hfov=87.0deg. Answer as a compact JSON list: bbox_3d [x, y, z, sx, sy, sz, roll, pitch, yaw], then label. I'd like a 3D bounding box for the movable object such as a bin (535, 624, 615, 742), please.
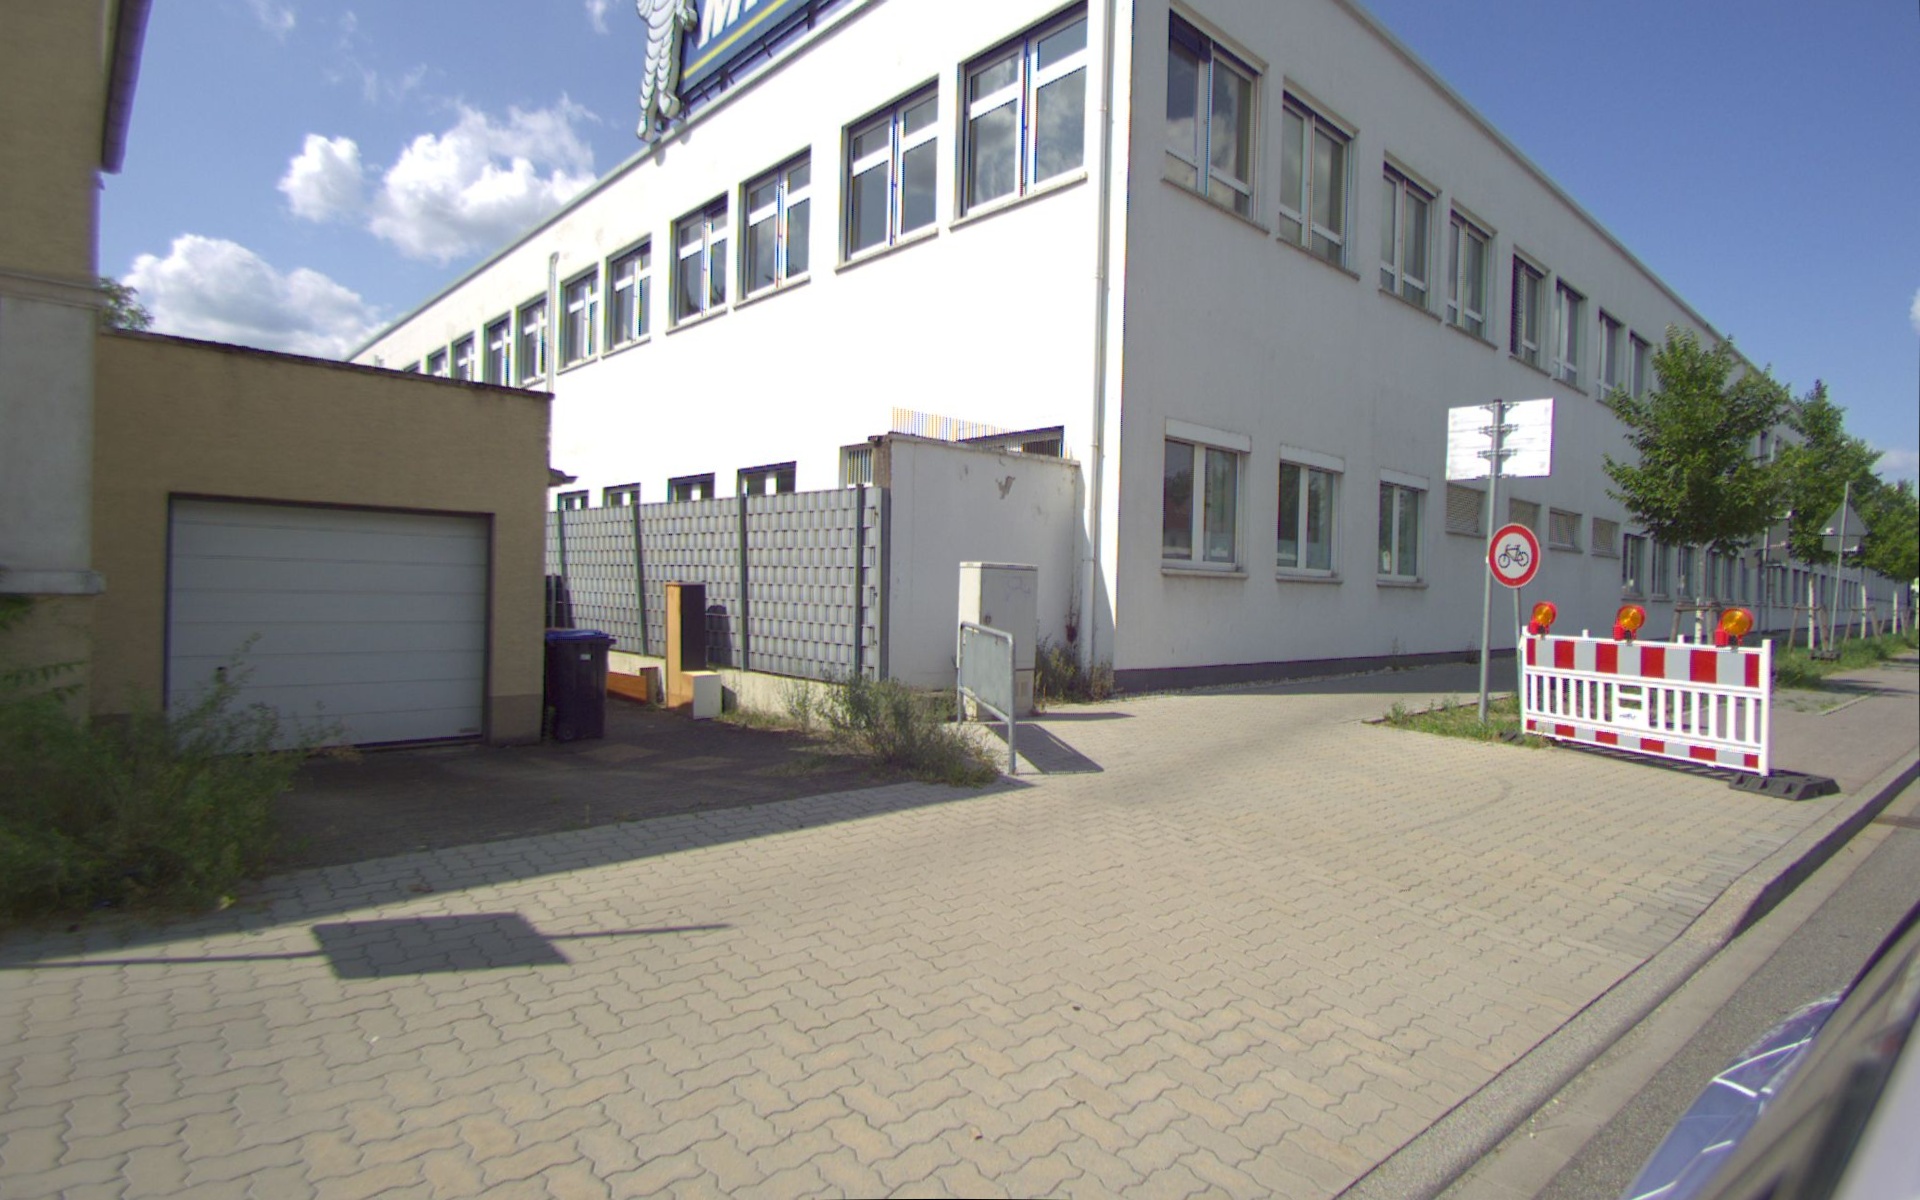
[{"bbox_3d":[-3.853,0.802,10.116,0.653,1.101,0.616,0,0,-31],"label":"movable object such as a bin"}]
